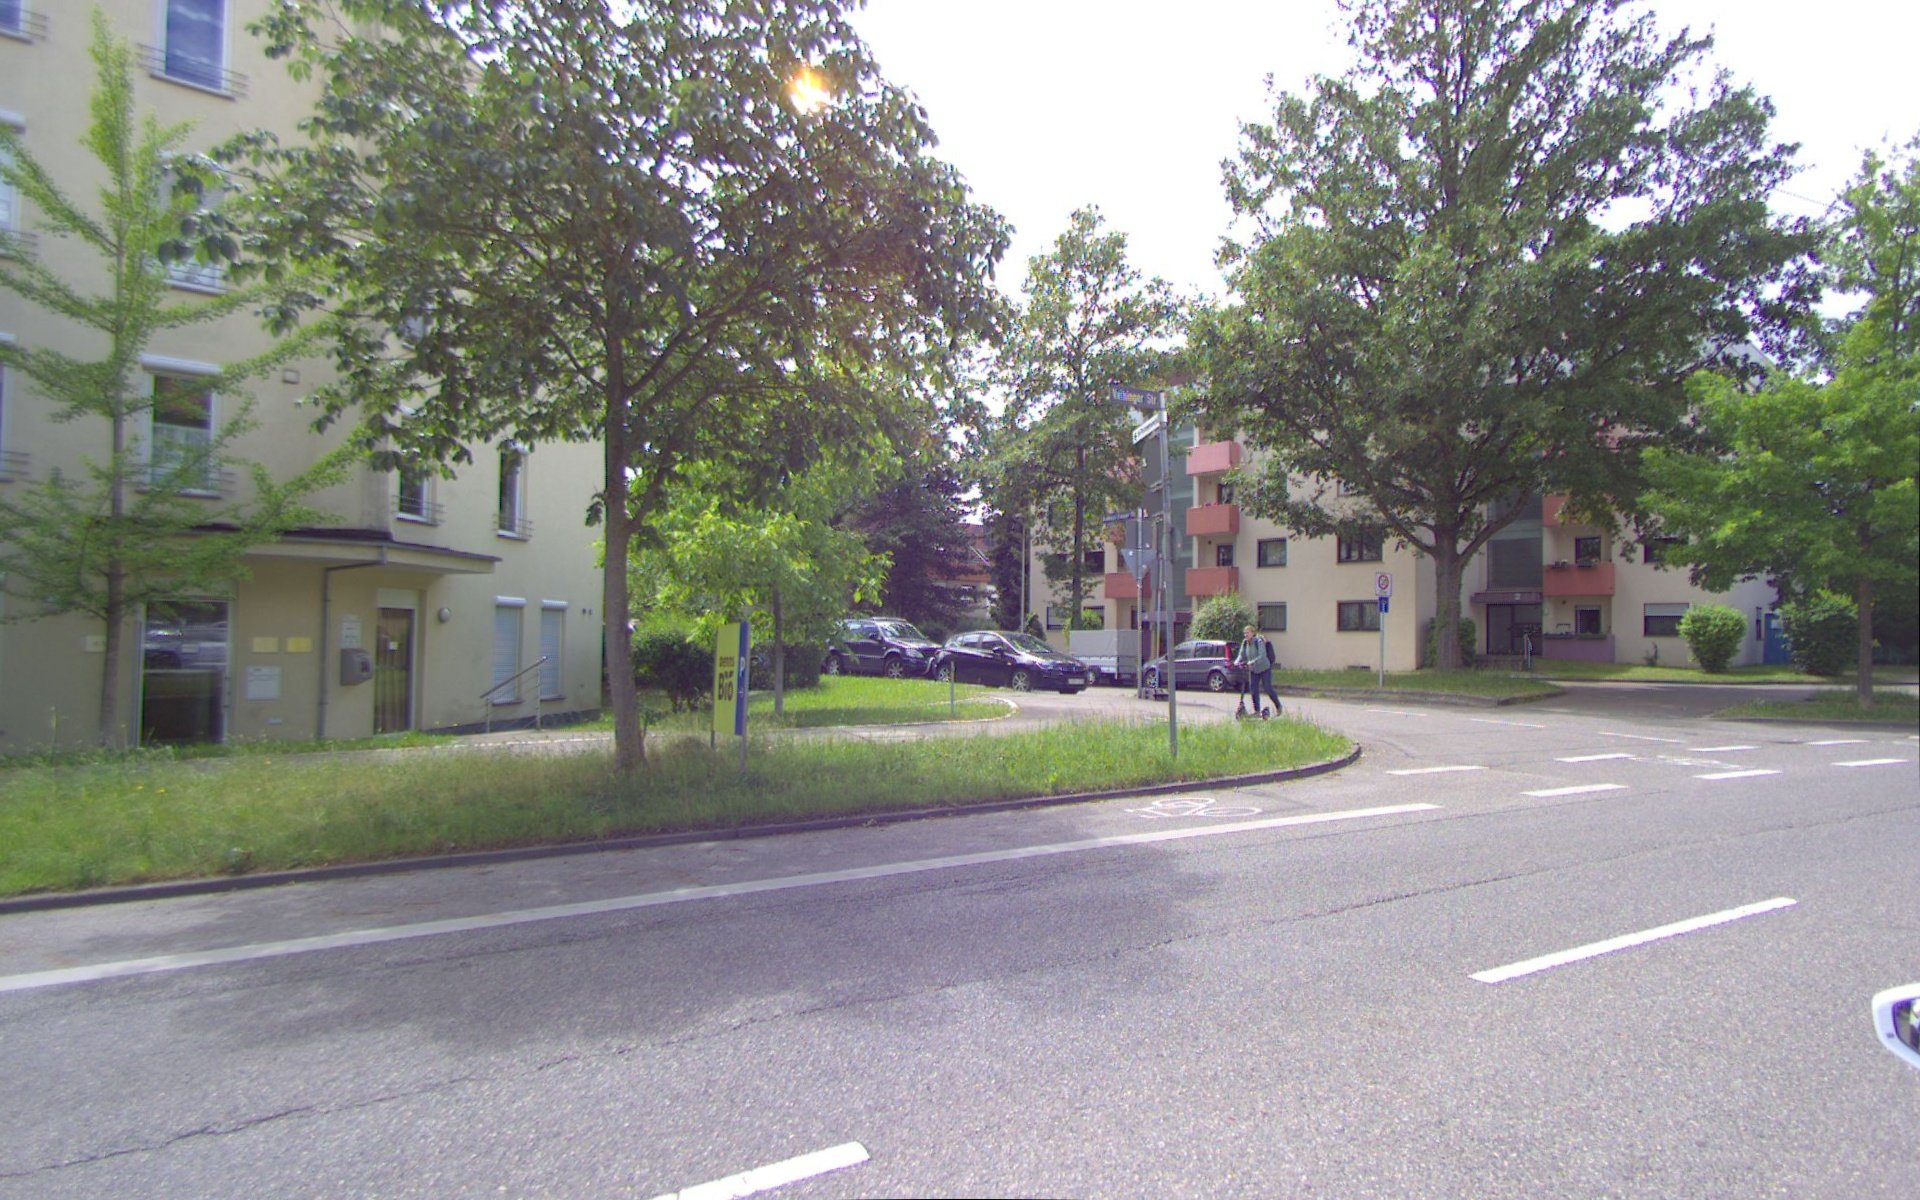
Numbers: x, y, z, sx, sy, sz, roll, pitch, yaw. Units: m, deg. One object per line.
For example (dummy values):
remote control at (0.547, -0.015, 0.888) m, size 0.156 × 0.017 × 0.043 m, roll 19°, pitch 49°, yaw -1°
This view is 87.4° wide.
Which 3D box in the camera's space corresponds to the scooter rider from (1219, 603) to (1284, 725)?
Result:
scooter rider at (5.057, 1.093, 17.440) m, size 0.785 × 2.040 × 0.673 m, roll 2°, pitch 0°, yaw -30°

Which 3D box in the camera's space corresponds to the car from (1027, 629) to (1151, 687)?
car at (4.330, 2.000, 34.153) m, size 1.832 × 1.868 × 3.952 m, roll 2°, pitch -5°, yaw -42°

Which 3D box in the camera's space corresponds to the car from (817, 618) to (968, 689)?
car at (-1.950, 1.414, 27.790) m, size 1.857 × 1.675 × 4.379 m, roll 2°, pitch 0°, yaw -41°

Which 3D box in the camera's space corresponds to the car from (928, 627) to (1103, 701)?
car at (1.233, 1.448, 23.749) m, size 1.725 × 1.417 × 4.100 m, roll 2°, pitch 0°, yaw -42°

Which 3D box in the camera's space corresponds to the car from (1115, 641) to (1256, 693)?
car at (6.847, 2.009, 30.723) m, size 3.945 × 1.471 × 1.687 m, roll -2°, pitch -4°, yaw 43°

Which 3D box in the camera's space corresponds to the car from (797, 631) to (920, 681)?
car at (-3.944, 2.134, 38.989) m, size 4.337 × 1.817 × 2.124 m, roll -1°, pitch -2°, yaw 28°
